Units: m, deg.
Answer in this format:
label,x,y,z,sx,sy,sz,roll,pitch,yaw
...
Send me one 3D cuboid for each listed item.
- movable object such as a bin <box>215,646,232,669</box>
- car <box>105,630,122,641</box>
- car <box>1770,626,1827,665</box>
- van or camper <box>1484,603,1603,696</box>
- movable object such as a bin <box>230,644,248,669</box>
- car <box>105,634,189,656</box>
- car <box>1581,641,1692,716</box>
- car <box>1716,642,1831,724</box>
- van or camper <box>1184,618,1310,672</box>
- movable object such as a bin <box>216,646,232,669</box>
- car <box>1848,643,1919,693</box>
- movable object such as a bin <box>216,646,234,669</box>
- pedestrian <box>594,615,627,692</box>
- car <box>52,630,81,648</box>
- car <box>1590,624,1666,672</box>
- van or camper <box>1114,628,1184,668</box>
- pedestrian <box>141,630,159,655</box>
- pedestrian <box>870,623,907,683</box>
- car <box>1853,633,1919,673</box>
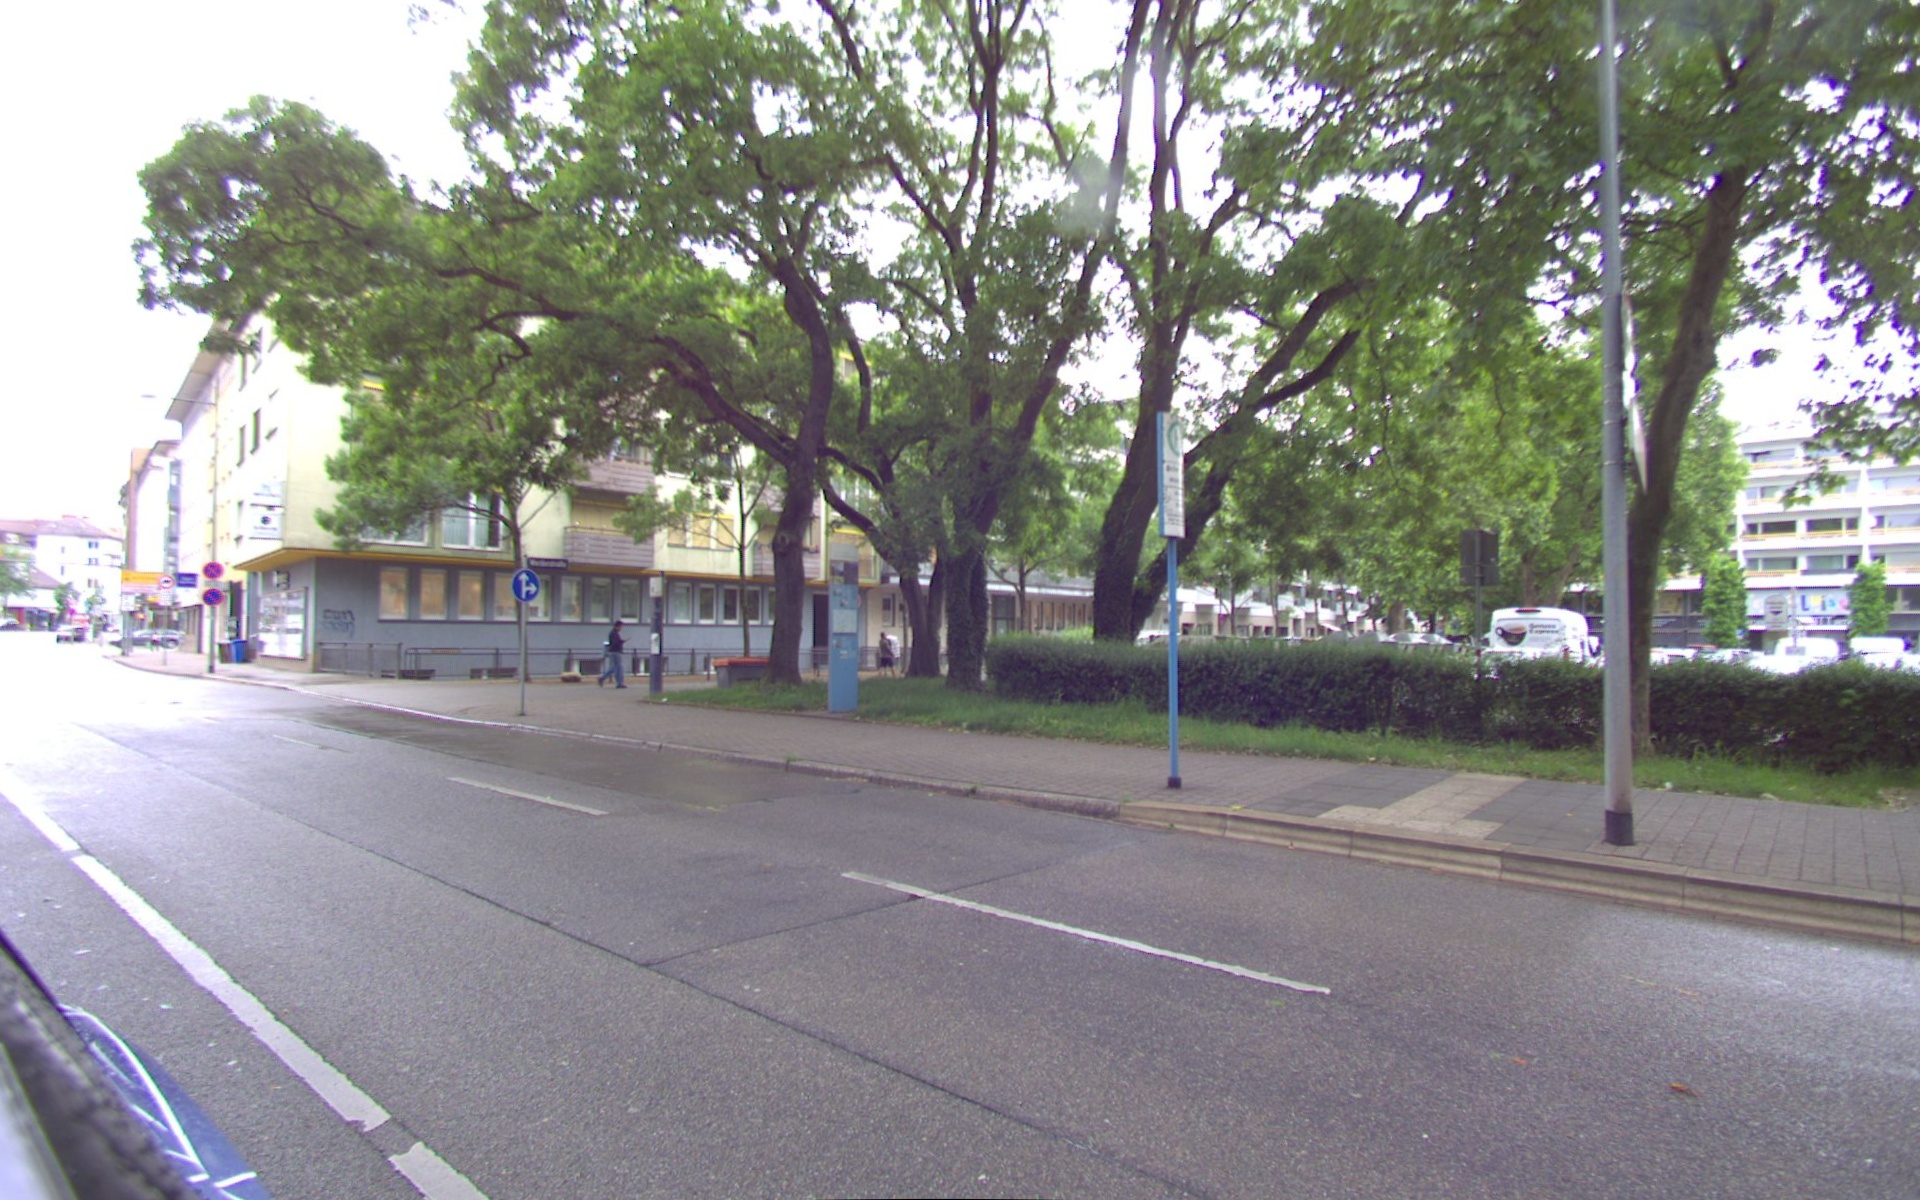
label,x,y,z,sx,sy,sz,roll,pitch,yaw
movable object such as a bin,-30.780,2.405,42.298,0.521,0.935,0.426,-3,1,-42
car,-126.827,5.327,151.657,1.567,1.539,3.496,2,-3,-36
car,41.917,2.224,50.665,2.097,1.735,3.948,-1,0,39
van or camper,16.895,1.403,29.220,2.099,2.450,4.280,-2,-3,42
movable object such as a bin,-29.755,2.321,41.784,0.522,0.968,0.435,-3,1,-42
car,-62.487,3.497,77.843,4.897,1.618,1.563,3,-4,-45
car,16.751,1.848,24.987,1.895,1.497,3.948,-1,0,39
car,18.630,1.815,23.203,1.895,1.497,3.948,-1,0,39
van or camper,14.140,2.156,49.388,2.561,2.420,8.535,-2,-3,41
movable object such as a bin,-31.122,2.439,42.776,0.458,0.935,0.429,-3,1,-42
car,33.380,2.406,36.447,1.895,1.497,3.948,-1,0,39
movable object such as a bin,-30.406,2.394,41.860,0.522,0.902,0.435,-3,1,-42
pedestrian,-9.368,1.417,27.132,0.768,2.029,0.755,1,-2,-17
car,-82.203,3.620,93.125,1.807,1.634,4.007,2,-3,-39
car,24.077,1.693,36.427,1.895,1.497,3.948,-1,0,39
van or camper,10.418,2.642,55.593,1.825,2.029,4.576,1,-2,38
pedestrian,-53.491,2.796,66.836,0.773,1.600,0.675,-1,-1,-29
pedestrian,-2.370,1.738,33.393,0.906,1.939,0.820,2,-3,-43
car,40.348,2.263,44.144,1.895,1.497,3.948,-1,0,39
